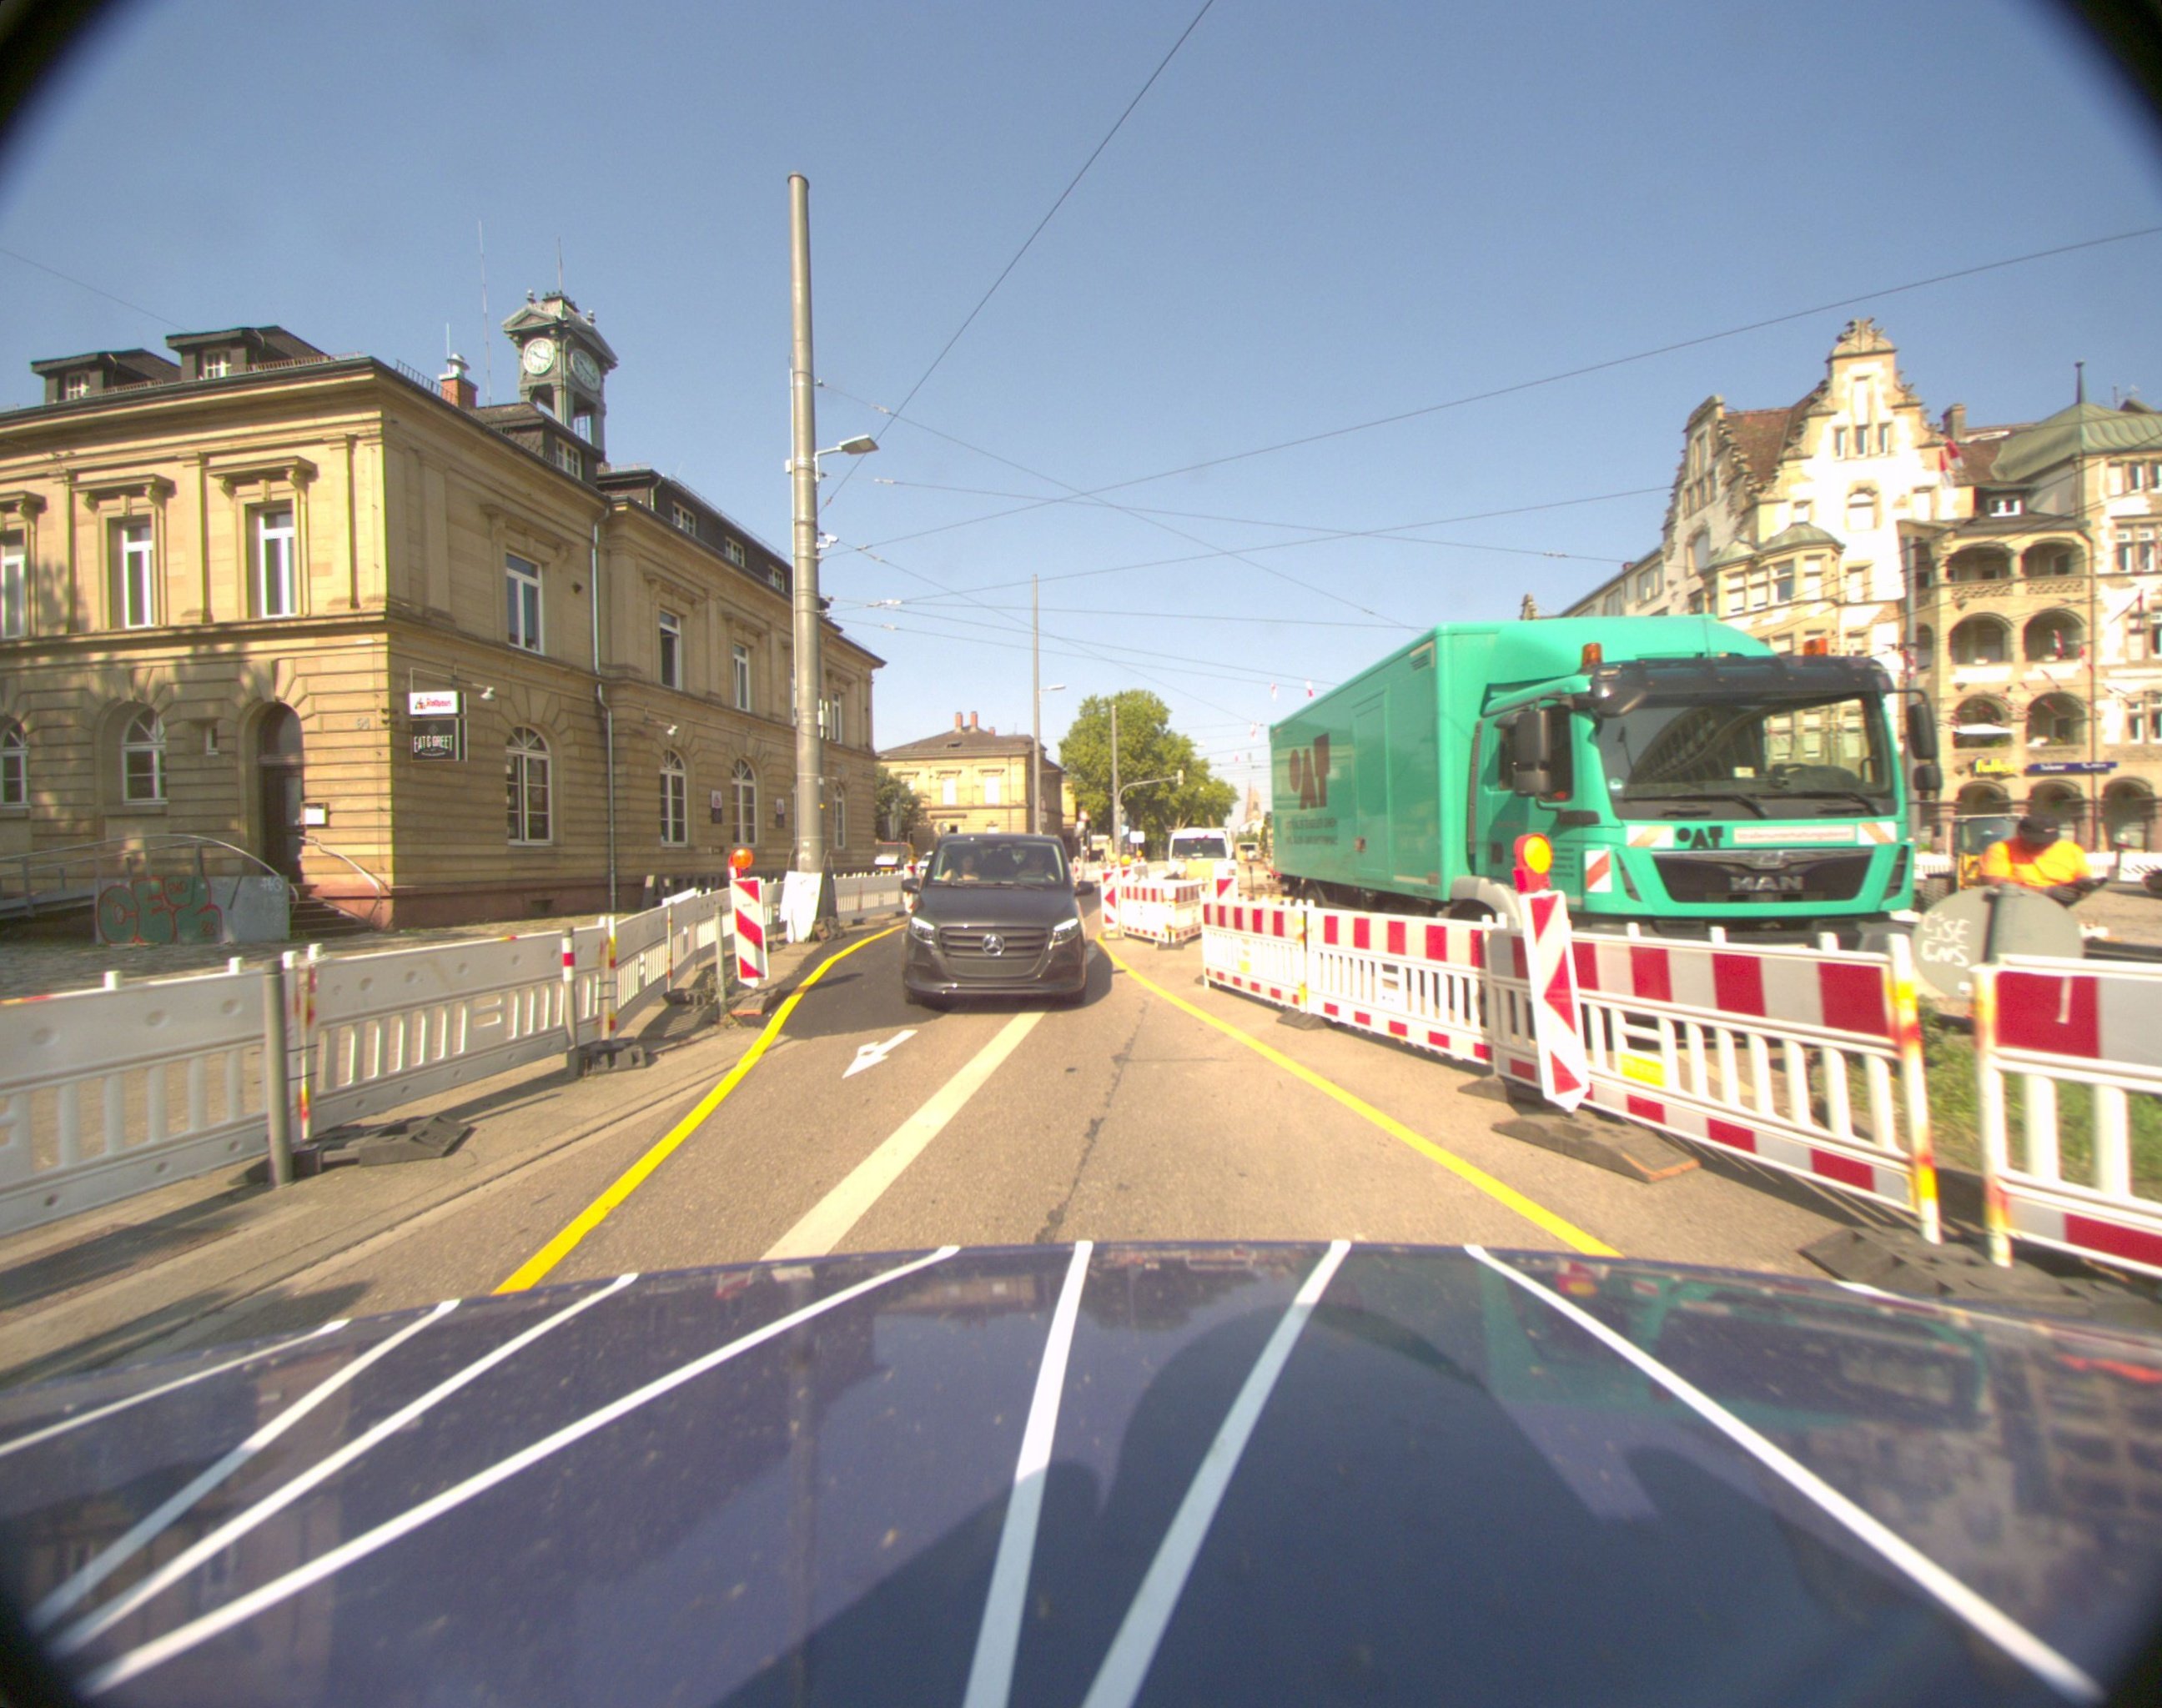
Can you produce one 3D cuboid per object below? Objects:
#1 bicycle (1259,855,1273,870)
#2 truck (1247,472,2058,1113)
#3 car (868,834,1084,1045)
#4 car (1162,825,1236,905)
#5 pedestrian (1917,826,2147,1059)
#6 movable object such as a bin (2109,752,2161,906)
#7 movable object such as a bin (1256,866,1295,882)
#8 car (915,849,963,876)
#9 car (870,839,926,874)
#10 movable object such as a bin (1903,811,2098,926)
[{"bbox_3d":[14.177,0.621,58.208,0.563,1.092,1.967,-2,1,0],"label":"bicycle"},{"bbox_3d":[4.515,-0.380,8.929,2.800,3.889,8.416,-2,0,-3],"label":"truck"},{"bbox_3d":[-0.942,0.736,8.965,1.853,1.875,4.178,-1,1,1],"label":"car"},{"bbox_3d":[4.175,0.291,26.590,2.211,2.410,7.204,0,1,10],"label":"car"},{"bbox_3d":[6.783,0.596,5.467,0.761,1.557,0.692,0,0,9],"label":"pedestrian"},{"bbox_3d":[33.413,-0.703,19.129,7.364,4.323,4.976,0,2,23],"label":"movable object such as a bin"},{"bbox_3d":[9.574,0.976,37.352,1.718,0.709,0.719,0,1,43],"label":"movable object such as a bin"},{"bbox_3d":[-9.926,0.545,53.503,1.906,1.773,4.228,1,1,11],"label":"car"},{"bbox_3d":[-13.317,0.156,55.601,2.262,2.409,5.490,-1,0,5],"label":"car"},{"bbox_3d":[25.187,0.309,20.805,4.823,2.818,2.443,-1,1,-28],"label":"movable object such as a bin"}]
